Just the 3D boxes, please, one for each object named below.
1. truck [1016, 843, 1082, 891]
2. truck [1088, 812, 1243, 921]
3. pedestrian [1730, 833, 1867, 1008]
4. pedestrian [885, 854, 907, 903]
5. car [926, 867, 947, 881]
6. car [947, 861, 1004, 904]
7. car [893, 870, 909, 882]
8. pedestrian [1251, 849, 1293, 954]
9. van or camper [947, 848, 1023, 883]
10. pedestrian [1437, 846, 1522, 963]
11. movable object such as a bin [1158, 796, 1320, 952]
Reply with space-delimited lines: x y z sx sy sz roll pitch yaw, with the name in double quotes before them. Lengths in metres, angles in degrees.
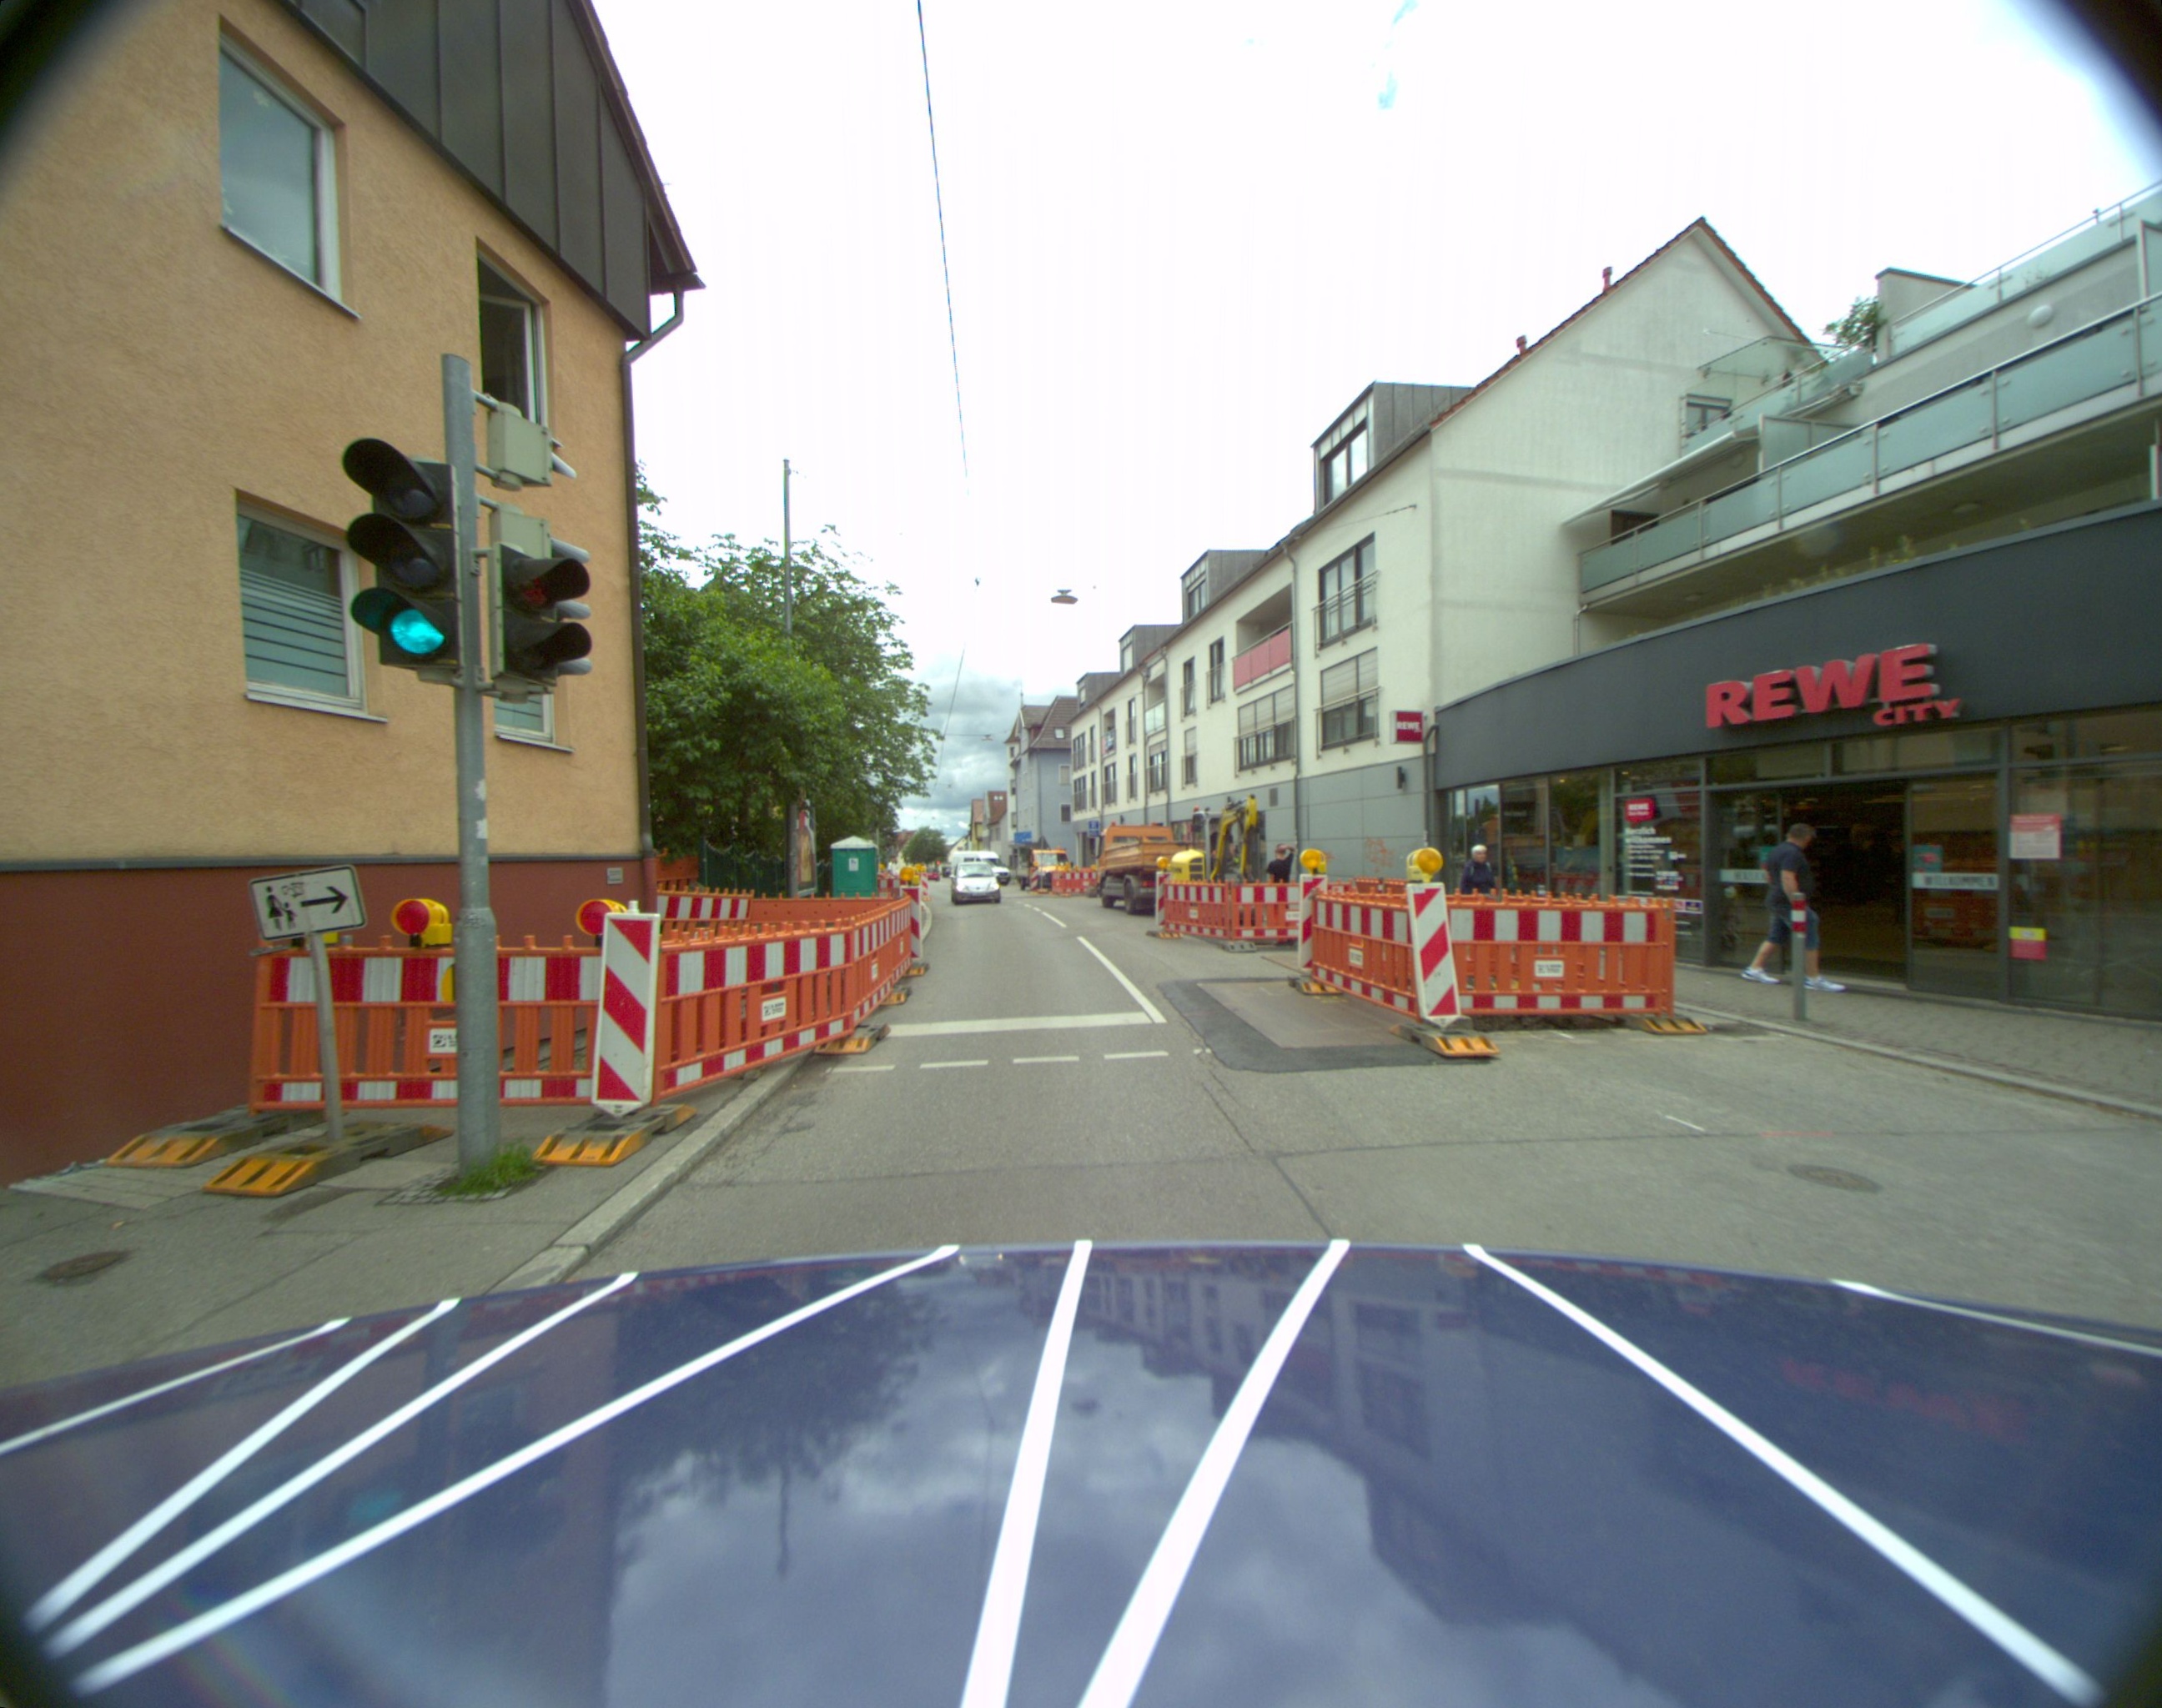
"truck" -1.880 0.718 41.701 2.422 2.451 6.301 0 -1 -14
"truck" 2.199 0.349 22.569 2.740 2.708 6.842 -1 -1 -10
"pedestrian" 7.936 0.704 8.437 0.755 1.833 0.788 -1 0 -6
"pedestrian" -7.458 0.972 30.651 0.801 1.938 0.835 0 -1 -16
"car" -15.832 2.199 83.166 1.819 1.511 2.939 -1 -1 -2
"car" -4.203 1.090 29.842 1.860 1.547 4.348 0 -1 -13
"car" -21.986 2.647 92.718 1.721 1.472 3.997 -1 -1 -11
"pedestrian" 3.224 0.795 12.852 0.539 1.733 0.443 -1 0 -6
"van or camper" -7.446 0.907 58.357 6.190 2.591 2.332 -2 -1 43
"pedestrian" 6.090 0.747 11.643 0.834 1.702 0.815 -1 0 -4
"movable object such as a bin" 3.064 0.328 15.769 1.845 2.747 4.501 -1 1 -8
